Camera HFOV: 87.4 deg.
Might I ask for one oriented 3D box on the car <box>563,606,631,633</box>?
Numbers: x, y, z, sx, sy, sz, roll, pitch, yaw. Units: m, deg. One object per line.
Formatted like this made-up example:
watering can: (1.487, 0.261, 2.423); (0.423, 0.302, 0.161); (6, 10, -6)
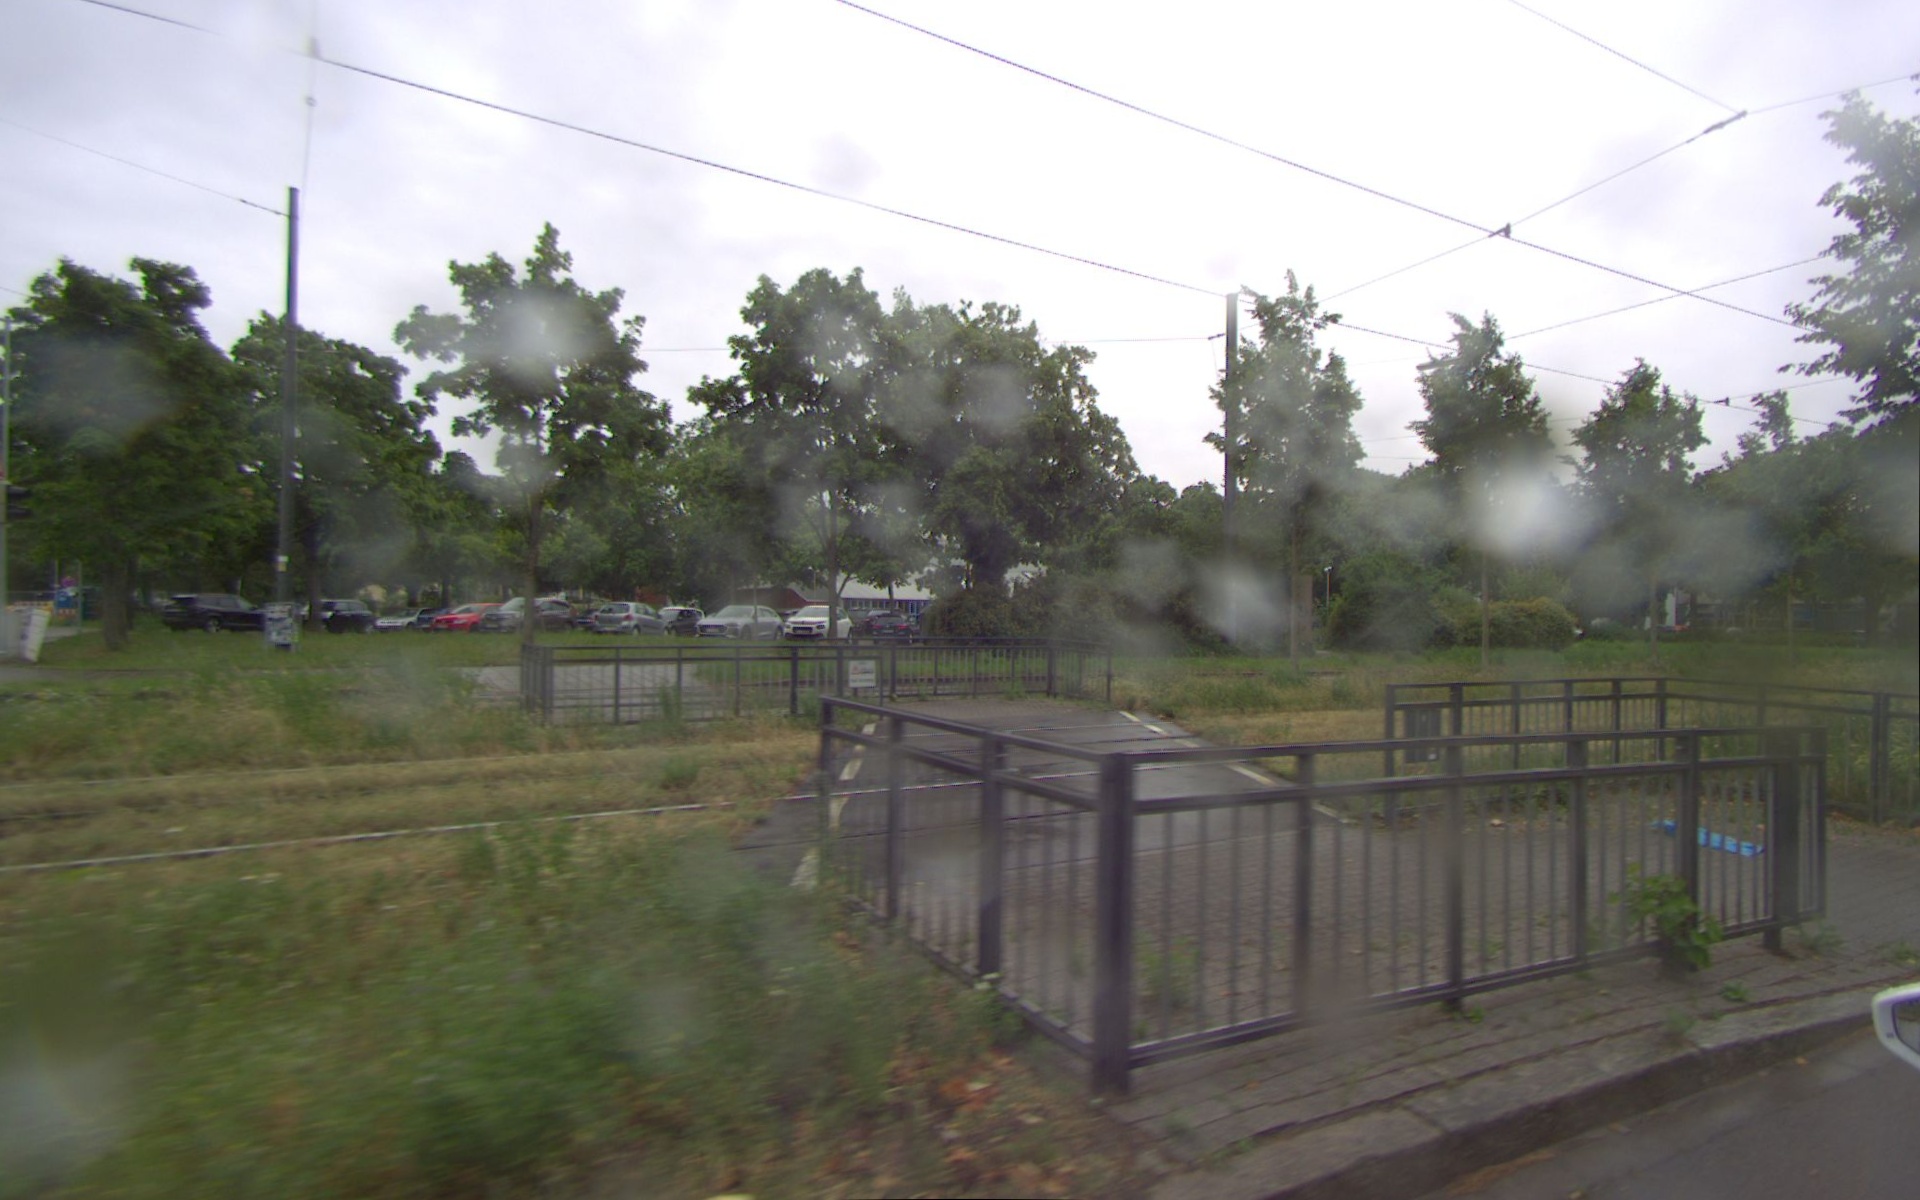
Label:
car: (-18.420, 1.006, 51.159); (1.631, 1.343, 3.745); (0, -1, 9)

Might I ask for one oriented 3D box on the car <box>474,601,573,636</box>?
car: (-16.874, 0.727, 38.998); (1.632, 1.265, 3.745); (0, -1, 12)

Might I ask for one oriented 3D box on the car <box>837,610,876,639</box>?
car: (-6.832, 1.634, 66.474); (1.656, 1.846, 4.065); (1, -1, 7)

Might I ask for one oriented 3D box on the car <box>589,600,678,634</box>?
car: (-12.592, 0.676, 38.982); (1.632, 1.265, 3.745); (0, -1, 12)

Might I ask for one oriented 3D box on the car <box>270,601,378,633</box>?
car: (-26.269, 0.724, 41.628); (1.632, 1.265, 3.745); (0, -1, 12)

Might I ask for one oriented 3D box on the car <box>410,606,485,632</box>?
car: (-27.066, 1.019, 53.187); (1.631, 1.343, 3.745); (0, -1, 9)

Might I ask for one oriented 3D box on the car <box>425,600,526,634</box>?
car: (-19.096, 0.703, 39.738); (1.632, 1.265, 3.745); (0, -1, 12)

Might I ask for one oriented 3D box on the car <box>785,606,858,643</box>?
car: (-5.011, 0.896, 36.821); (1.631, 1.265, 3.745); (0, -1, 9)

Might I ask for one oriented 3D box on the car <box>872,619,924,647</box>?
car: (-2.876, 1.544, 47.484); (1.631, 1.265, 3.745); (0, -1, 9)

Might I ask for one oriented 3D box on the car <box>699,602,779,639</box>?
car: (-8.104, 0.772, 37.145); (1.631, 1.265, 3.745); (0, -1, 9)

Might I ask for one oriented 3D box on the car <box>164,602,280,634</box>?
car: (-30.891, 0.756, 42.181); (1.632, 1.265, 3.745); (0, -1, 12)

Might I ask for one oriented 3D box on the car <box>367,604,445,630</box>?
car: (-29.455, 0.920, 53.544); (1.631, 1.343, 3.745); (0, -1, 9)
